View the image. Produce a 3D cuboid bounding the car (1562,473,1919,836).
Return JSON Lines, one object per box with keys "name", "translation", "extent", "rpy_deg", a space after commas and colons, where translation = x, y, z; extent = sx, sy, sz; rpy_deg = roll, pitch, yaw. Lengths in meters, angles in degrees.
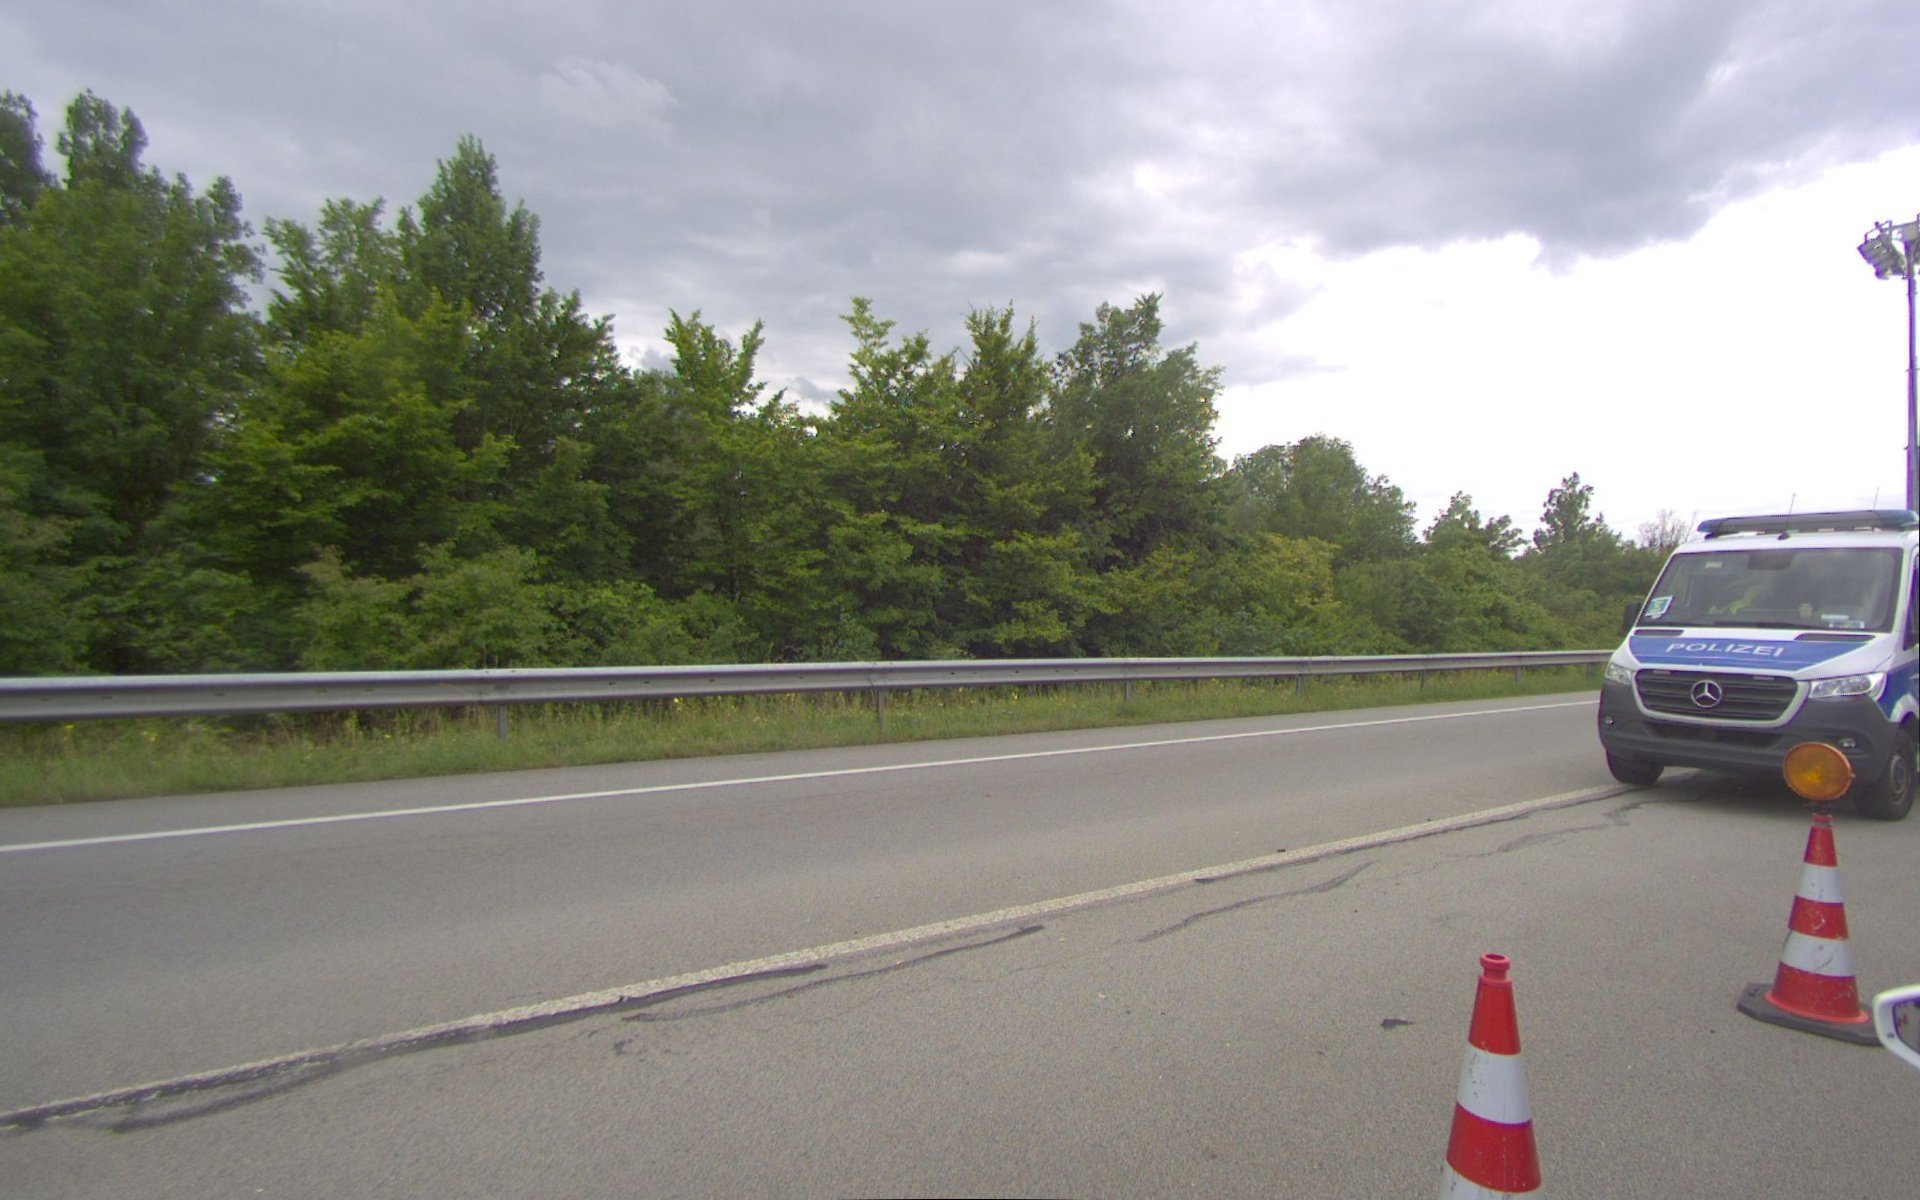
{"name": "car", "translation": [7.850, 0.422, 9.270], "extent": [5.228, 2.496, 2.015], "rpy_deg": [1, 0, -36]}
